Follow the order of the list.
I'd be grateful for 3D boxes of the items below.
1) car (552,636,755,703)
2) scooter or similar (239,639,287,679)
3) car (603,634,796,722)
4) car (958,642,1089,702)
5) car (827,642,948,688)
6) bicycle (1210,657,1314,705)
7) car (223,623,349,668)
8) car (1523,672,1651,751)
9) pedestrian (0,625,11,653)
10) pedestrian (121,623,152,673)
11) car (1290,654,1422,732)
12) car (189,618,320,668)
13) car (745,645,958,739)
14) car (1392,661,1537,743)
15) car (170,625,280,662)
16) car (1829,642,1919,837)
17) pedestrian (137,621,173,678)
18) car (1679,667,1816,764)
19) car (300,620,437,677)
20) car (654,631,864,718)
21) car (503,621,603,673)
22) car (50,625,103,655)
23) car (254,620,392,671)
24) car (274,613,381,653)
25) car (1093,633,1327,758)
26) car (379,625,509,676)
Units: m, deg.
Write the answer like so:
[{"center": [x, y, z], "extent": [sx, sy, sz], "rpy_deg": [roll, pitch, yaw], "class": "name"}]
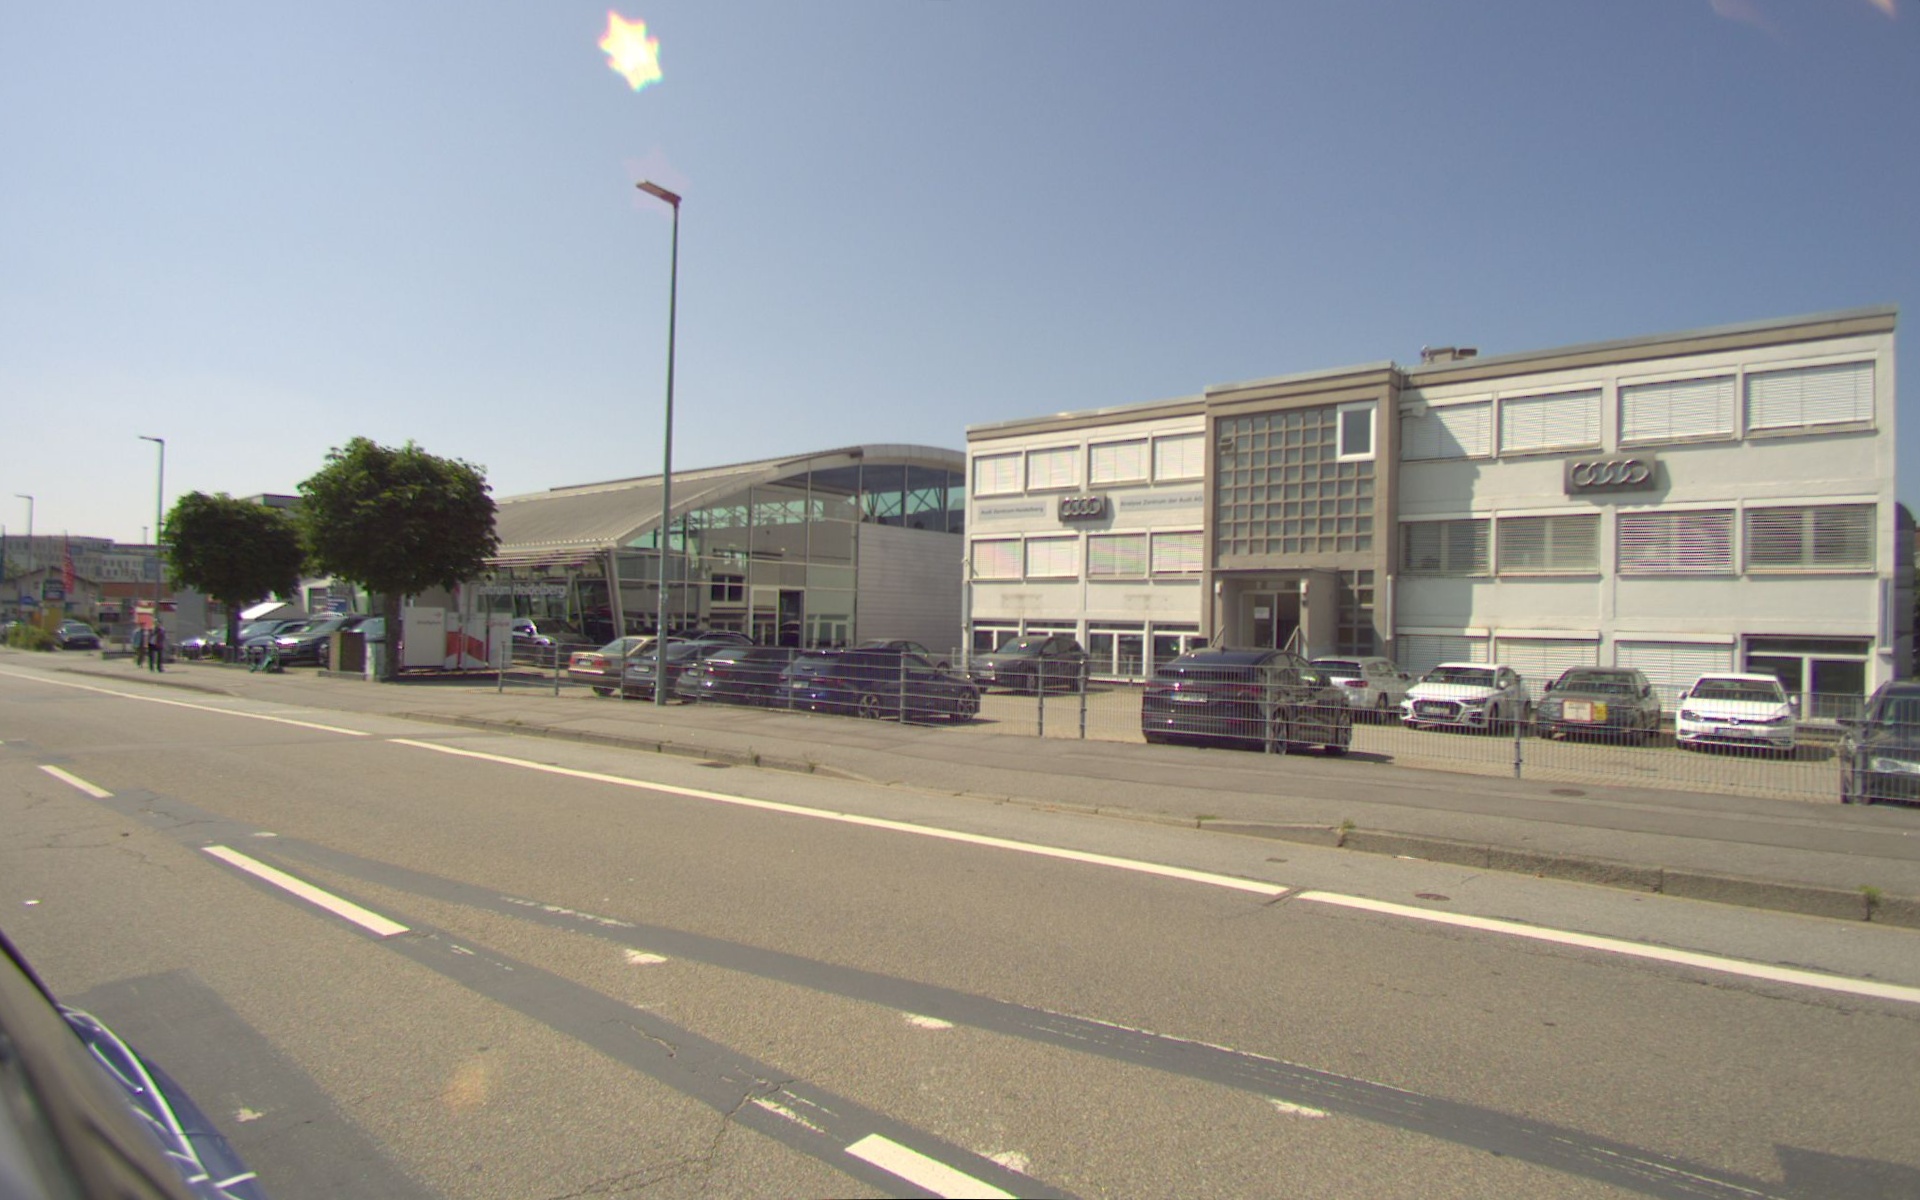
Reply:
[{"center": [-7.342, 1.624, 24.663], "extent": [1.897, 1.469, 4.481], "rpy_deg": [-1, -3, 37], "class": "car"}, {"center": [-22.523, 1.883, 32.716], "extent": [1.485, 1.257, 0.738], "rpy_deg": [-1, -2, 32], "class": "scooter or similar"}, {"center": [-5.681, 1.636, 22.425], "extent": [1.821, 1.455, 3.853], "rpy_deg": [2, 3, 38], "class": "car"}, {"center": [1.954, 2.062, 30.035], "extent": [1.856, 1.565, 4.315], "rpy_deg": [-1, -2, 36], "class": "car"}, {"center": [-2.369, 2.107, 33.774], "extent": [1.857, 1.370, 3.948], "rpy_deg": [-1, -2, 39], "class": "car"}, {"center": [8.295, 2.201, 27.858], "extent": [2.572, 1.187, 0.917], "rpy_deg": [-1, -2, 38], "class": "bicycle"}, {"center": [-25.581, 1.695, 38.620], "extent": [1.850, 1.506, 4.198], "rpy_deg": [0, 0, 4], "class": "car"}, {"center": [13.049, 2.223, 20.963], "extent": [1.856, 1.274, 3.949], "rpy_deg": [-1, -2, 38], "class": "car"}, {"center": [-58.718, 2.406, 61.844], "extent": [0.981, 1.698, 0.801], "rpy_deg": [2, -3, -40], "class": "pedestrian"}, {"center": [-30.822, 1.785, 37.884], "extent": [0.911, 1.862, 0.715], "rpy_deg": [-2, -3, 40], "class": "pedestrian"}, {"center": [9.404, 2.100, 23.852], "extent": [1.856, 1.557, 3.949], "rpy_deg": [-1, -2, 38], "class": "car"}, {"center": [-28.693, 1.700, 41.363], "extent": [1.940, 1.620, 4.478], "rpy_deg": [-5, 1, 4], "class": "car"}, {"center": [-1.957, 1.647, 19.261], "extent": [1.855, 1.501, 3.952], "rpy_deg": [2, -1, 35], "class": "car"}, {"center": [11.054, 2.135, 22.059], "extent": [1.816, 1.413, 3.943], "rpy_deg": [1, 0, 43], "class": "car"}, {"center": [-31.313, 1.819, 43.271], "extent": [1.879, 1.470, 4.164], "rpy_deg": [0, -1, -4], "class": "car"}, {"center": [9.435, 1.138, 9.196], "extent": [2.045, 1.492, 4.694], "rpy_deg": [-1, -3, 38], "class": "car"}, {"center": [-27.266, 1.663, 34.263], "extent": [1.046, 1.882, 0.725], "rpy_deg": [-2, -3, 41], "class": "pedestrian"}, {"center": [14.920, 2.095, 19.251], "extent": [1.856, 1.472, 3.949], "rpy_deg": [-1, -2, 38], "class": "car"}, {"center": [-19.976, 1.582, 34.424], "extent": [1.886, 1.720, 4.476], "rpy_deg": [-1, 0, 4], "class": "car"}, {"center": [-4.030, 1.581, 20.877], "extent": [1.856, 1.454, 3.951], "rpy_deg": [-1, -8, 37], "class": "car"}, {"center": [-14.245, 1.613, 35.334], "extent": [1.969, 1.697, 4.005], "rpy_deg": [1, -2, -42], "class": "car"}, {"center": [-53.576, 2.406, 61.372], "extent": [3.998, 1.728, 1.885], "rpy_deg": [-2, -3, 42], "class": "car"}, {"center": [-22.602, 1.576, 36.144], "extent": [1.835, 1.709, 4.575], "rpy_deg": [-1, -1, 4], "class": "car"}, {"center": [-29.858, 1.527, 47.745], "extent": [4.704, 1.732, 1.984], "rpy_deg": [-1, 1, 24], "class": "car"}, {"center": [3.850, 1.286, 15.061], "extent": [1.991, 1.570, 4.258], "rpy_deg": [-1, -3, 35], "class": "car"}, {"center": [-16.740, 1.610, 33.059], "extent": [1.838, 1.562, 3.989], "rpy_deg": [-1, -1, 8], "class": "car"}]
